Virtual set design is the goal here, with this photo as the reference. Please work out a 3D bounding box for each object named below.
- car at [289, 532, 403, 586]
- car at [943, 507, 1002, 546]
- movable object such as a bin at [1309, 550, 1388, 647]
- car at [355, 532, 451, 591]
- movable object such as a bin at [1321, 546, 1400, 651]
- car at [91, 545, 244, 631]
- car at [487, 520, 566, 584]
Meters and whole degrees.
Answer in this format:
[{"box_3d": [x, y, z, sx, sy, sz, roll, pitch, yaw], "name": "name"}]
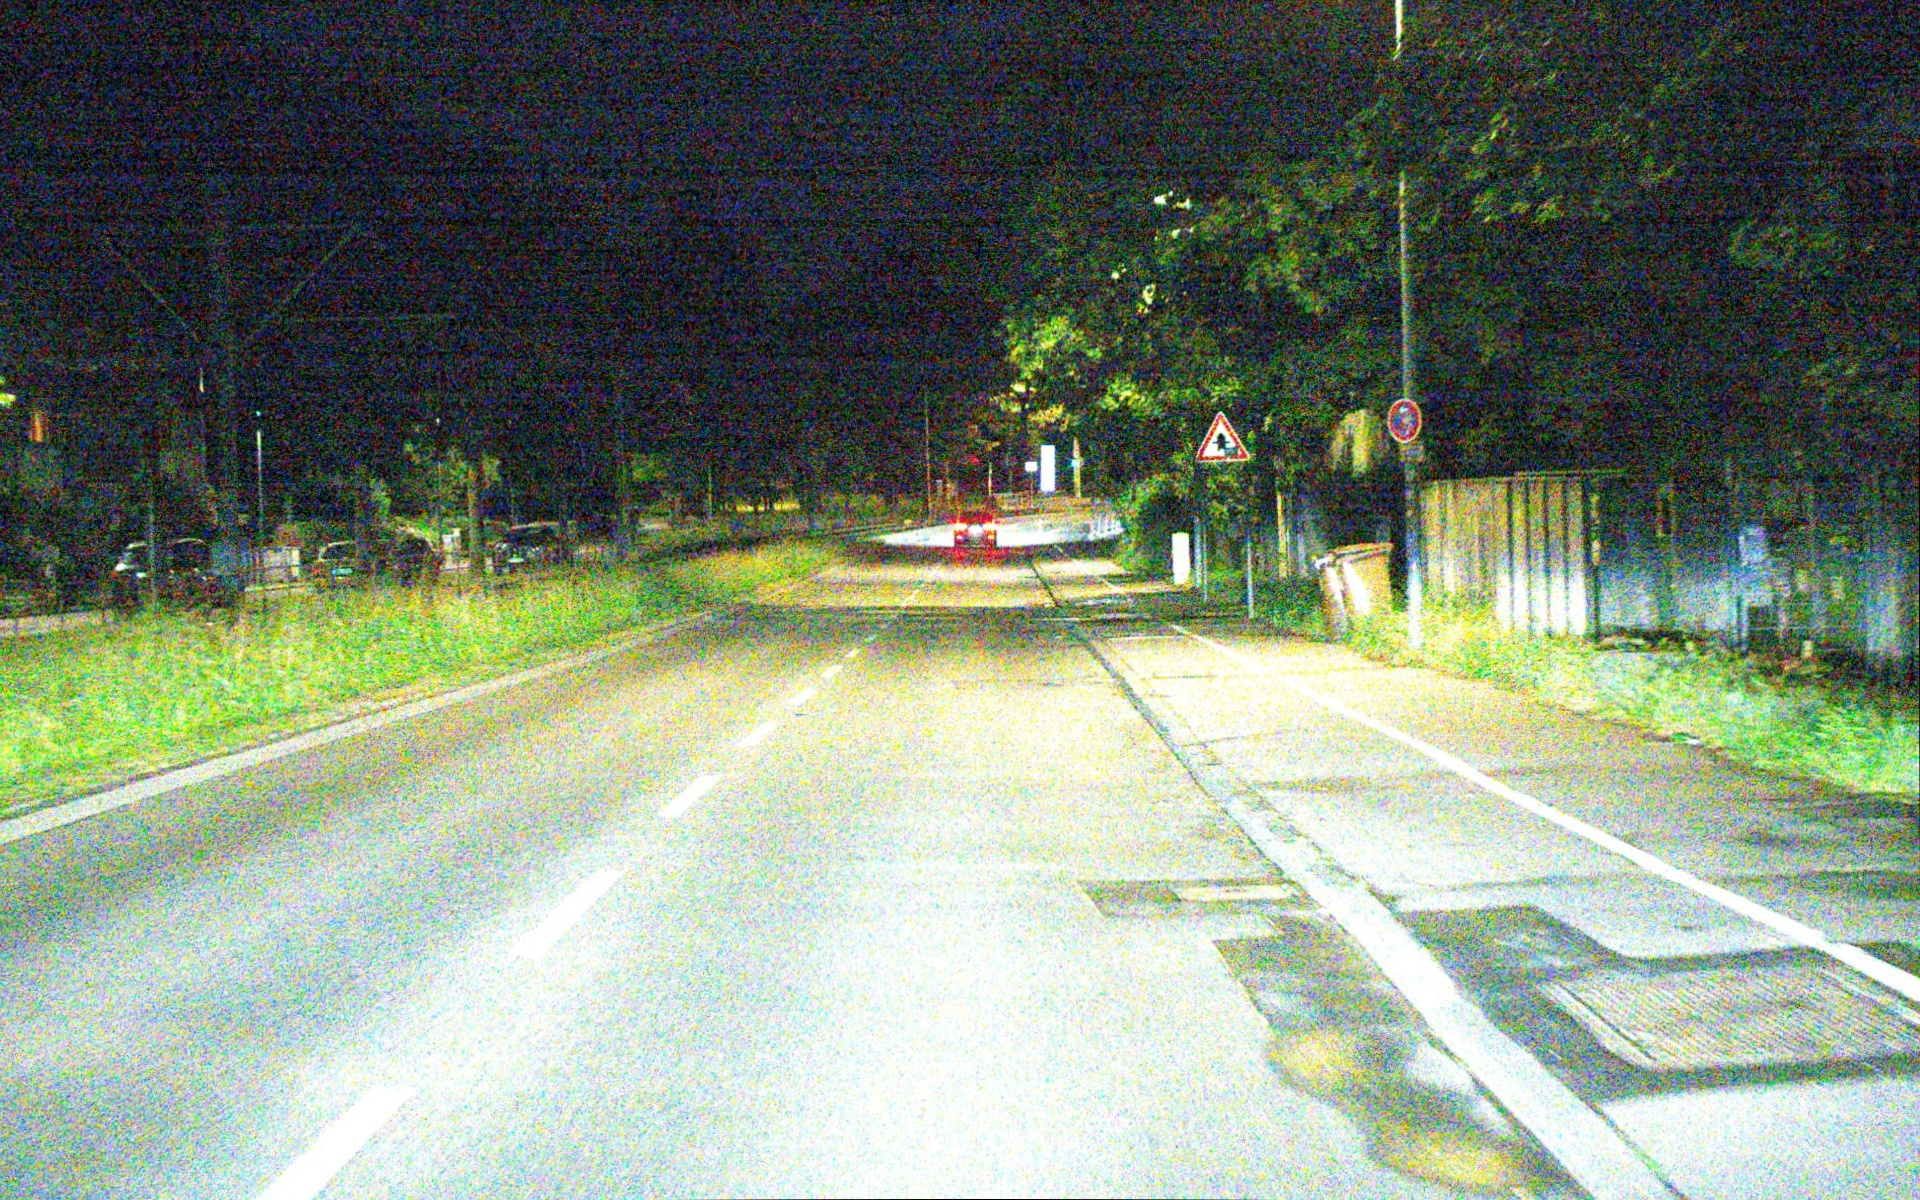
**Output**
[{"box_3d": [-15.859, -1.074, 89.029, 1.993, 1.333, 5.432, -1, 1, 0], "name": "car"}, {"box_3d": [0.501, -3.078, 144.572, 2.161, 1.577, 4.014, 0, 1, -5], "name": "car"}, {"box_3d": [4.538, -0.025, 40.189, 0.857, 1.115, 0.840, -1, 1, 3], "name": "movable object such as a bin"}, {"box_3d": [-15.354, -1.075, 94.969, 1.993, 1.525, 4.000, -1, 1, 0], "name": "car"}, {"box_3d": [4.578, -0.023, 39.313, 0.833, 1.177, 0.828, -1, 1, 3], "name": "movable object such as a bin"}, {"box_3d": [-15.934, -0.273, 69.349, 1.993, 1.622, 4.677, -1, 1, 0], "name": "car"}, {"box_3d": [-15.069, -1.704, 119.730, 2.091, 2.006, 4.000, -5, 2, 0], "name": "car"}]
